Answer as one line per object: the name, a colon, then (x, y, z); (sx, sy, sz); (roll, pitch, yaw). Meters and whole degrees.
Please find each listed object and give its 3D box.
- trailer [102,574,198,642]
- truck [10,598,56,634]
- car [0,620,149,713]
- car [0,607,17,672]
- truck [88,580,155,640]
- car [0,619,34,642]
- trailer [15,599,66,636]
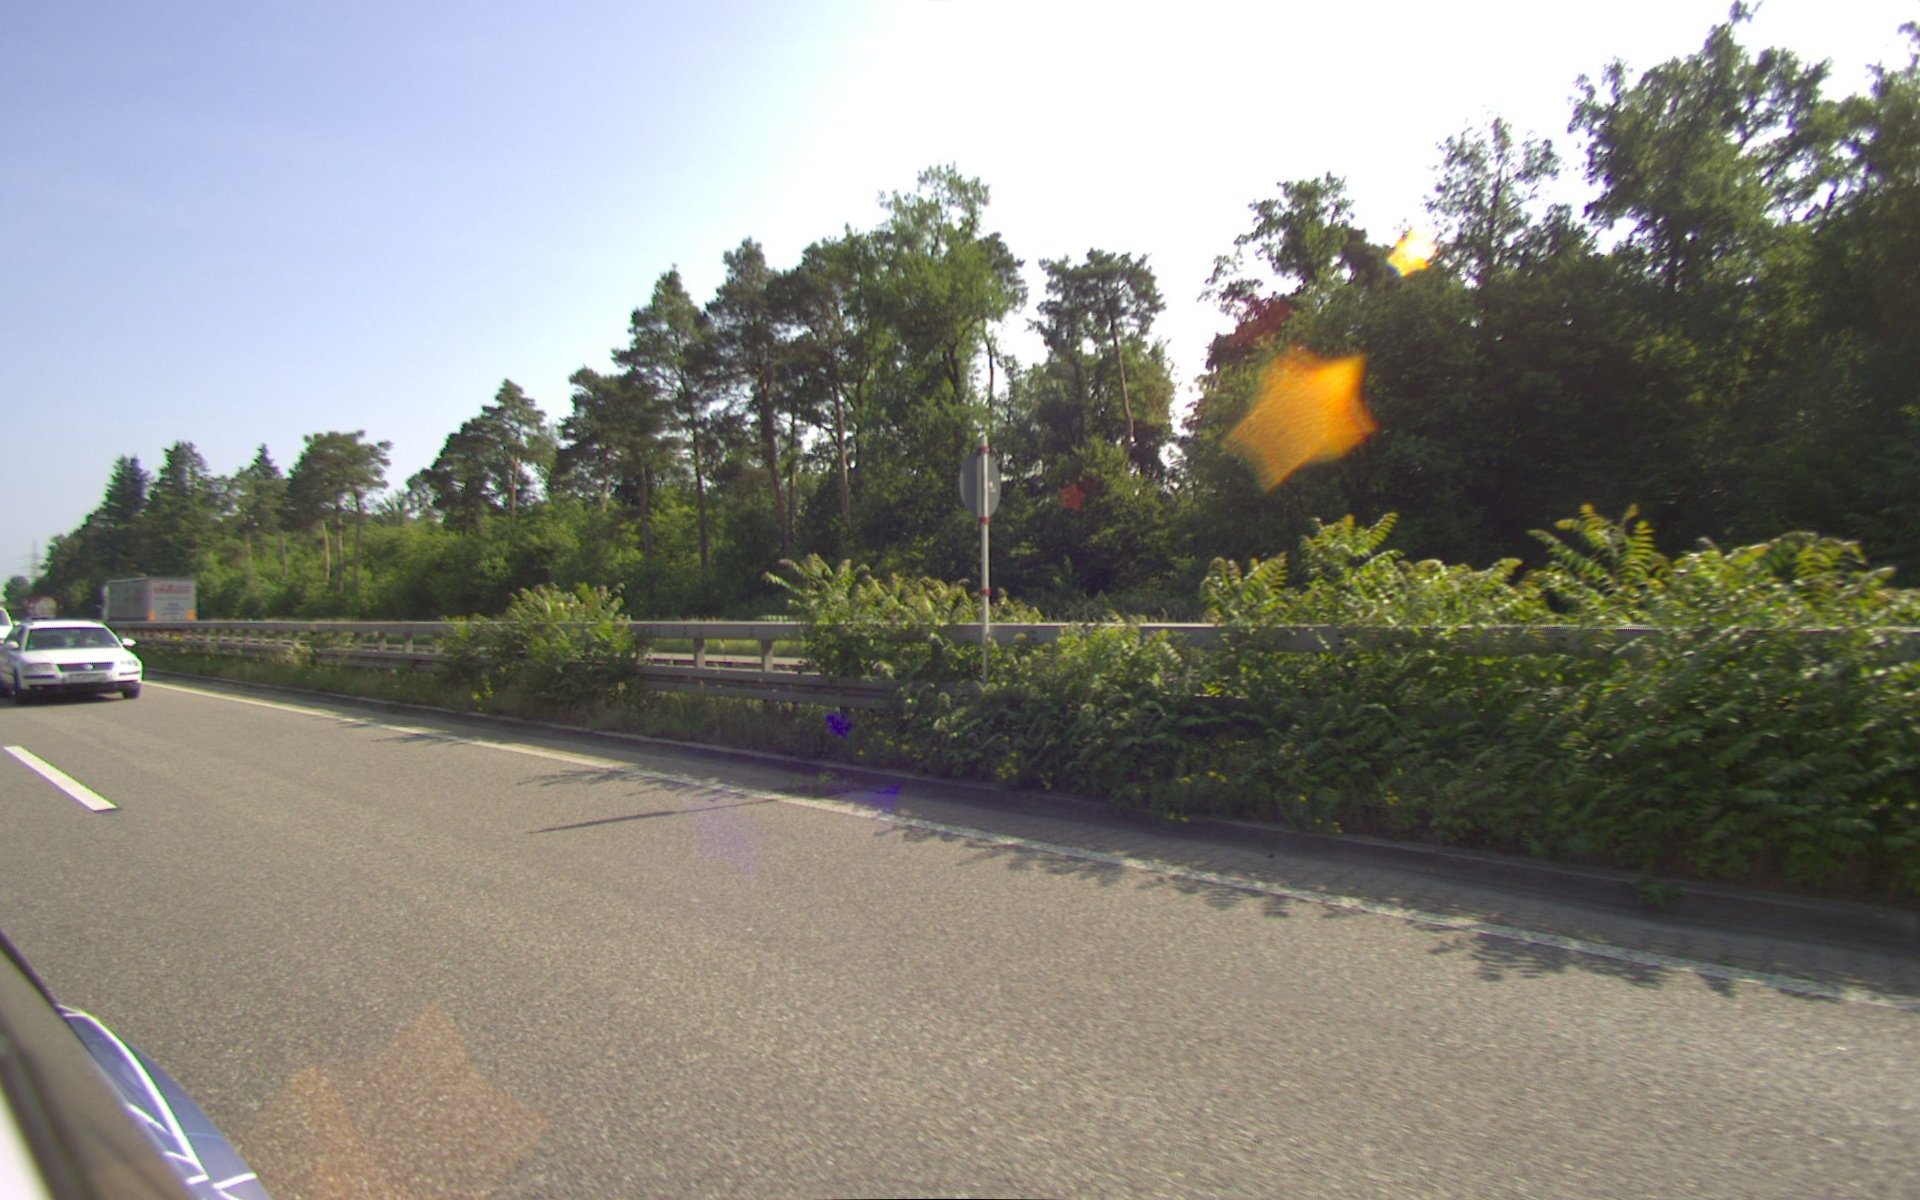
trailer: (-54.599, 0.626, 68.035); (12.404, 4.241, 2.803); (-1, -2, 41)
truck: (-108.514, 1.875, 118.443); (6.229, 4.069, 3.233); (-1, 0, 41)
car: (-17.150, 1.162, 19.199); (5.258, 1.497, 1.732); (-1, -1, 39)
car: (-31.106, 1.229, 31.624); (4.704, 1.960, 1.888); (-1, -1, 41)
truck: (-60.964, 0.753, 73.545); (5.543, 4.228, 2.808); (-1, -2, 41)
car: (-71.226, 2.273, 76.292); (4.167, 1.701, 1.668); (-1, -1, 42)
trailer: (-104.546, 1.970, 115.020); (8.368, 4.070, 3.261); (-1, 0, 41)
